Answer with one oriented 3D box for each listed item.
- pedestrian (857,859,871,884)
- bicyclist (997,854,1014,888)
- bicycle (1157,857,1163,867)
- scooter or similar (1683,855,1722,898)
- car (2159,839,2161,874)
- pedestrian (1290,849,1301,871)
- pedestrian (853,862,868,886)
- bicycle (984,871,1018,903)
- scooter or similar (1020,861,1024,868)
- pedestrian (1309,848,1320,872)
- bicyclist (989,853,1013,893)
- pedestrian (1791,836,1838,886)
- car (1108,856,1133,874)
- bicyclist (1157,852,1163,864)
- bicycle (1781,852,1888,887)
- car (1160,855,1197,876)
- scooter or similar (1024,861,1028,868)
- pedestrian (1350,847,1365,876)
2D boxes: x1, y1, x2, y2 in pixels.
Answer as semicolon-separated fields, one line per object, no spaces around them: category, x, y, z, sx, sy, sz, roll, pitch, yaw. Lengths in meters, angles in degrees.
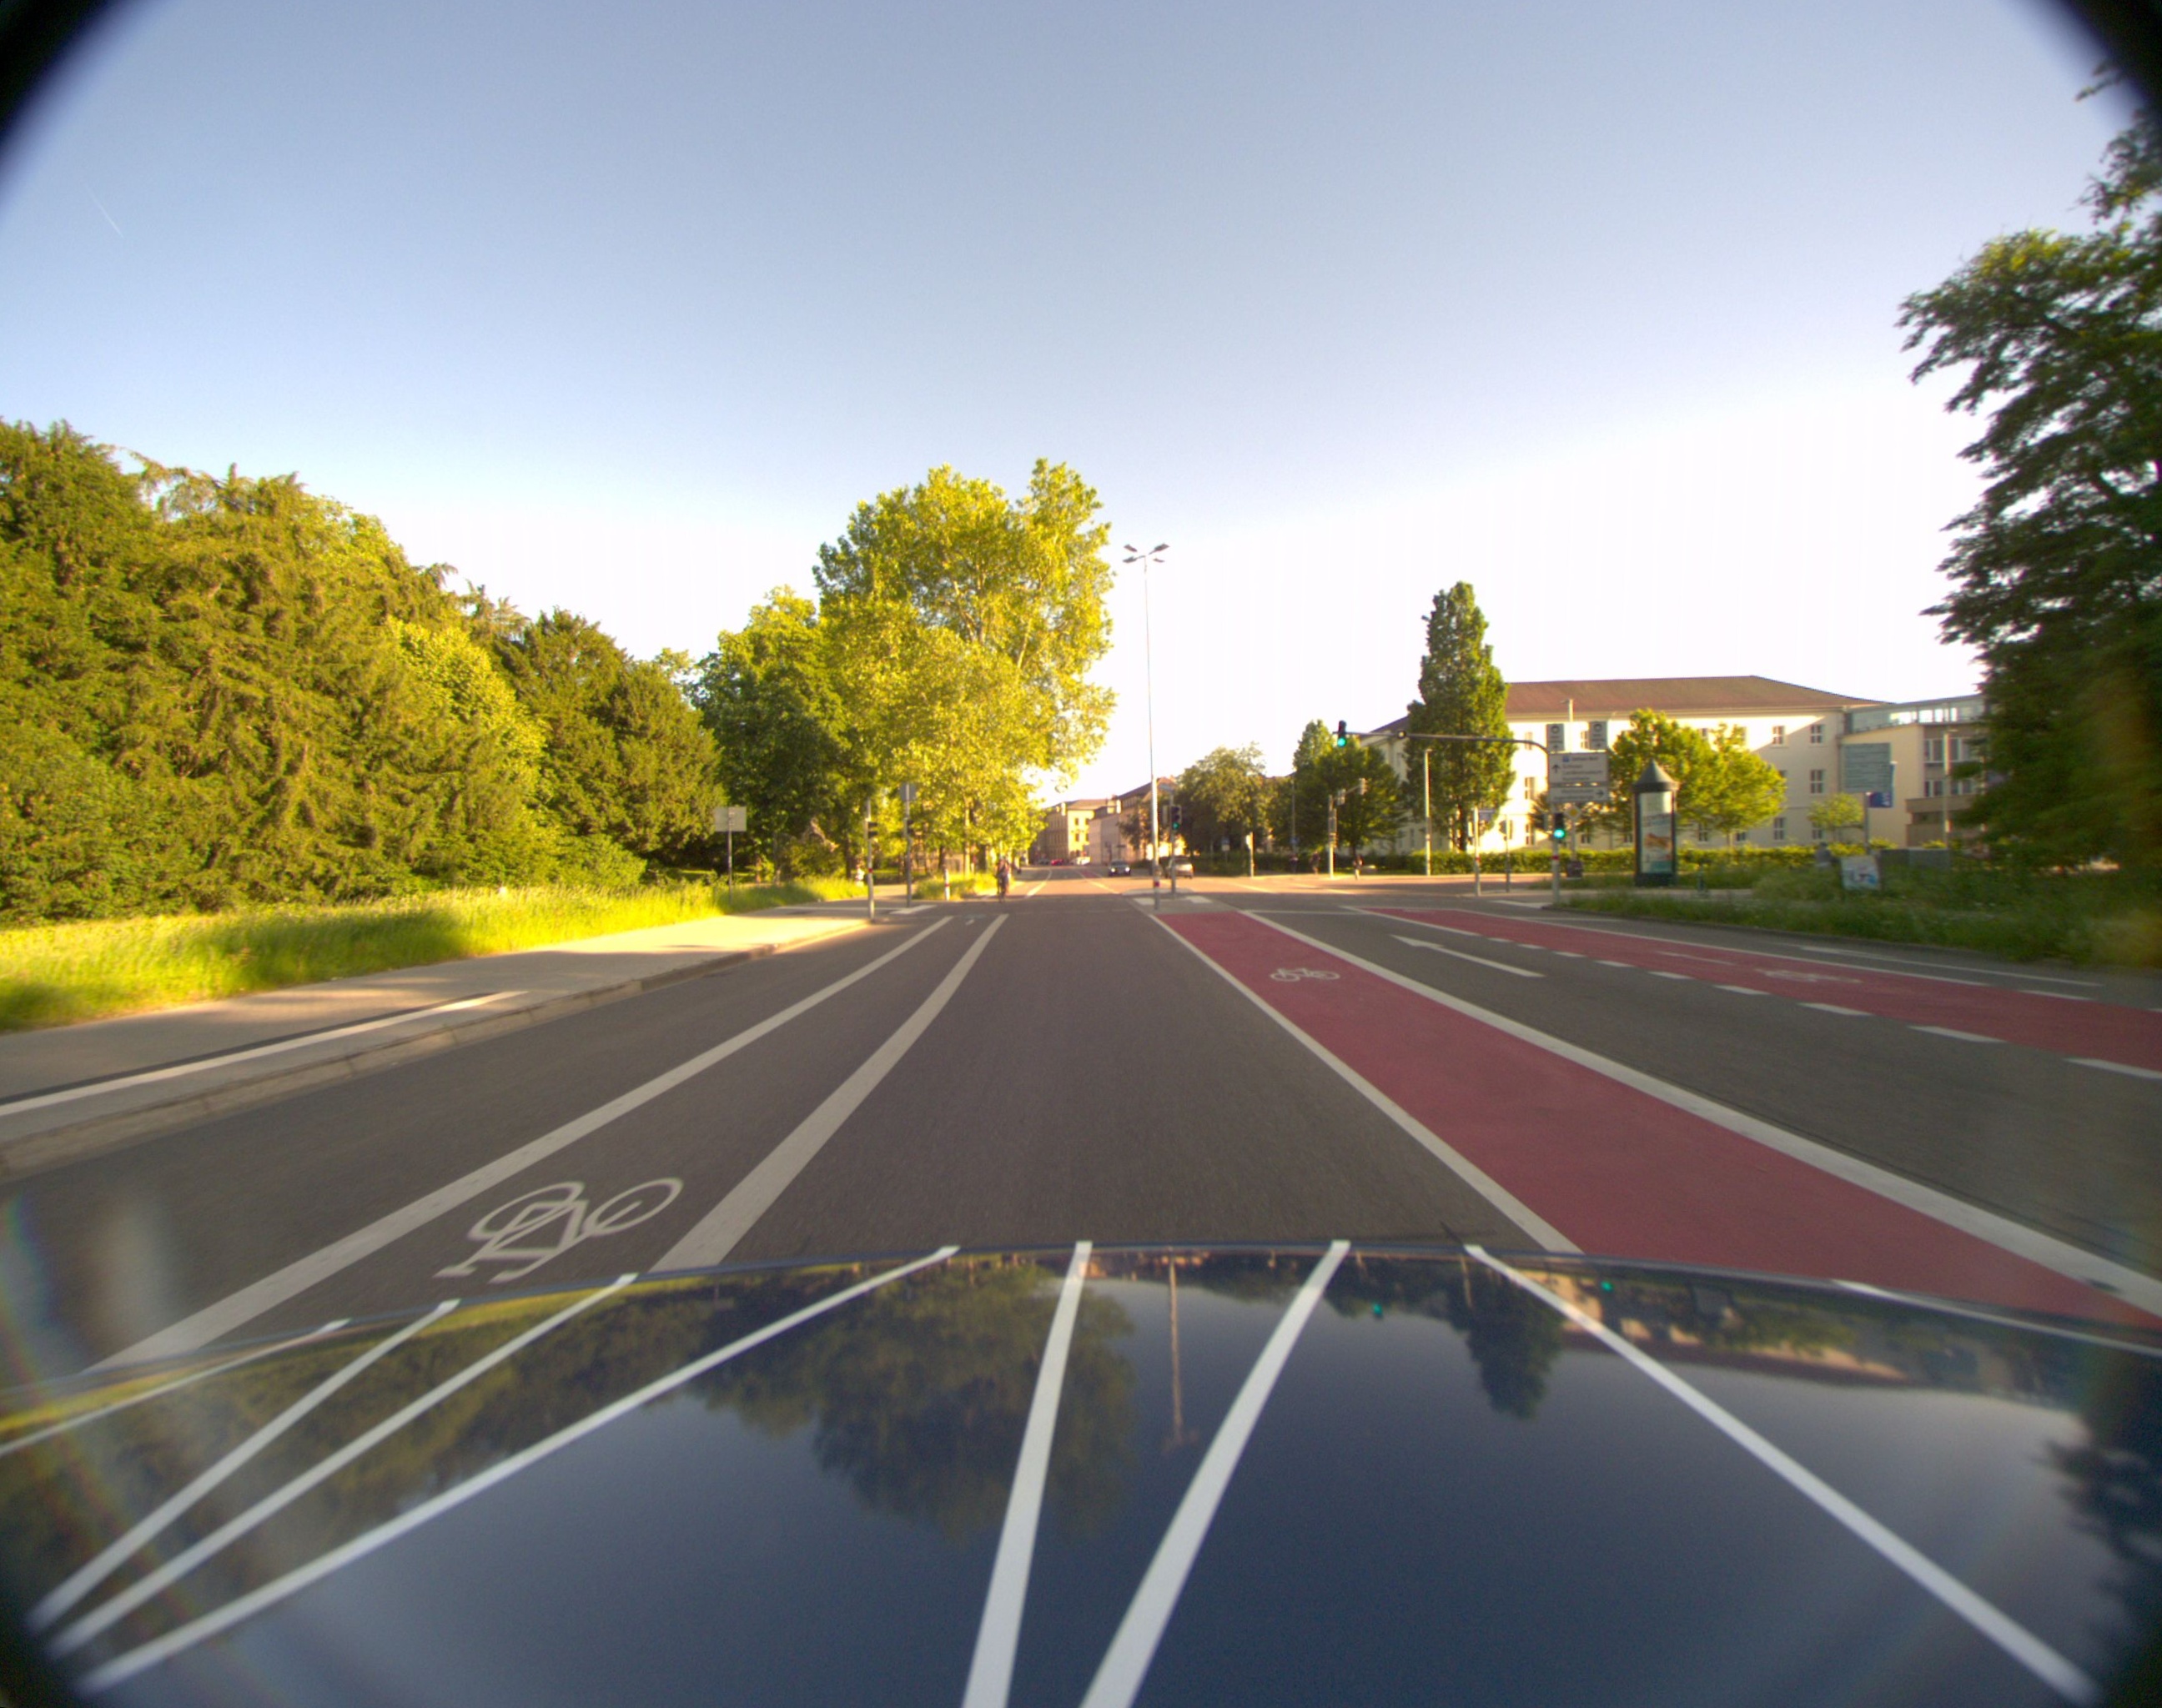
pedestrian;-14.629;1.175;51.195;0.691;1.624;0.681;-1;1;8
bicyclist;-3.342;0.732;33.884;0.695;1.493;0.892;-1;1;-4
bicycle;9.680;0.966;93.560;0.697;1.110;2.190;-1;0;5
scooter or similar;19.405;0.692;23.755;0.694;1.286;1.499;-1;0;29
car;50.548;0.075;32.948;4.253;1.530;2.070;-1;0;7
pedestrian;16.540;0.464;58.521;0.691;1.672;0.681;-1;1;8
pedestrian;-14.696;1.344;50.620;0.691;1.537;0.681;-1;1;8
bicycle;-3.011;1.241;28.769;0.694;1.089;2.137;-1;0;10
scooter or similar;-9.084;1.610;117.090;0.416;1.035;1.778;-3;1;-1
pedestrian;17.600;0.423;57.236;0.691;1.805;0.681;-1;1;8
bicyclist;-3.015;0.721;28.775;0.694;1.482;0.801;-1;1;10
pedestrian;25.374;0.251;26.290;0.979;1.686;0.643;-1;1;4
car;3.357;0.941;65.261;1.722;1.409;4.526;-1;0;-1
bicyclist;9.689;0.522;93.748;0.697;1.457;0.758;-1;1;4
bicycle;25.566;0.527;25.825;2.576;1.129;0.980;-1;0;4
car;6.826;0.792;53.780;1.715;1.413;4.552;-2;0;-4
scooter or similar;-8.621;1.583;119.453;0.416;1.035;1.778;-3;1;-1
pedestrian;17.522;0.444;48.149;0.744;1.805;0.727;-1;1;8
